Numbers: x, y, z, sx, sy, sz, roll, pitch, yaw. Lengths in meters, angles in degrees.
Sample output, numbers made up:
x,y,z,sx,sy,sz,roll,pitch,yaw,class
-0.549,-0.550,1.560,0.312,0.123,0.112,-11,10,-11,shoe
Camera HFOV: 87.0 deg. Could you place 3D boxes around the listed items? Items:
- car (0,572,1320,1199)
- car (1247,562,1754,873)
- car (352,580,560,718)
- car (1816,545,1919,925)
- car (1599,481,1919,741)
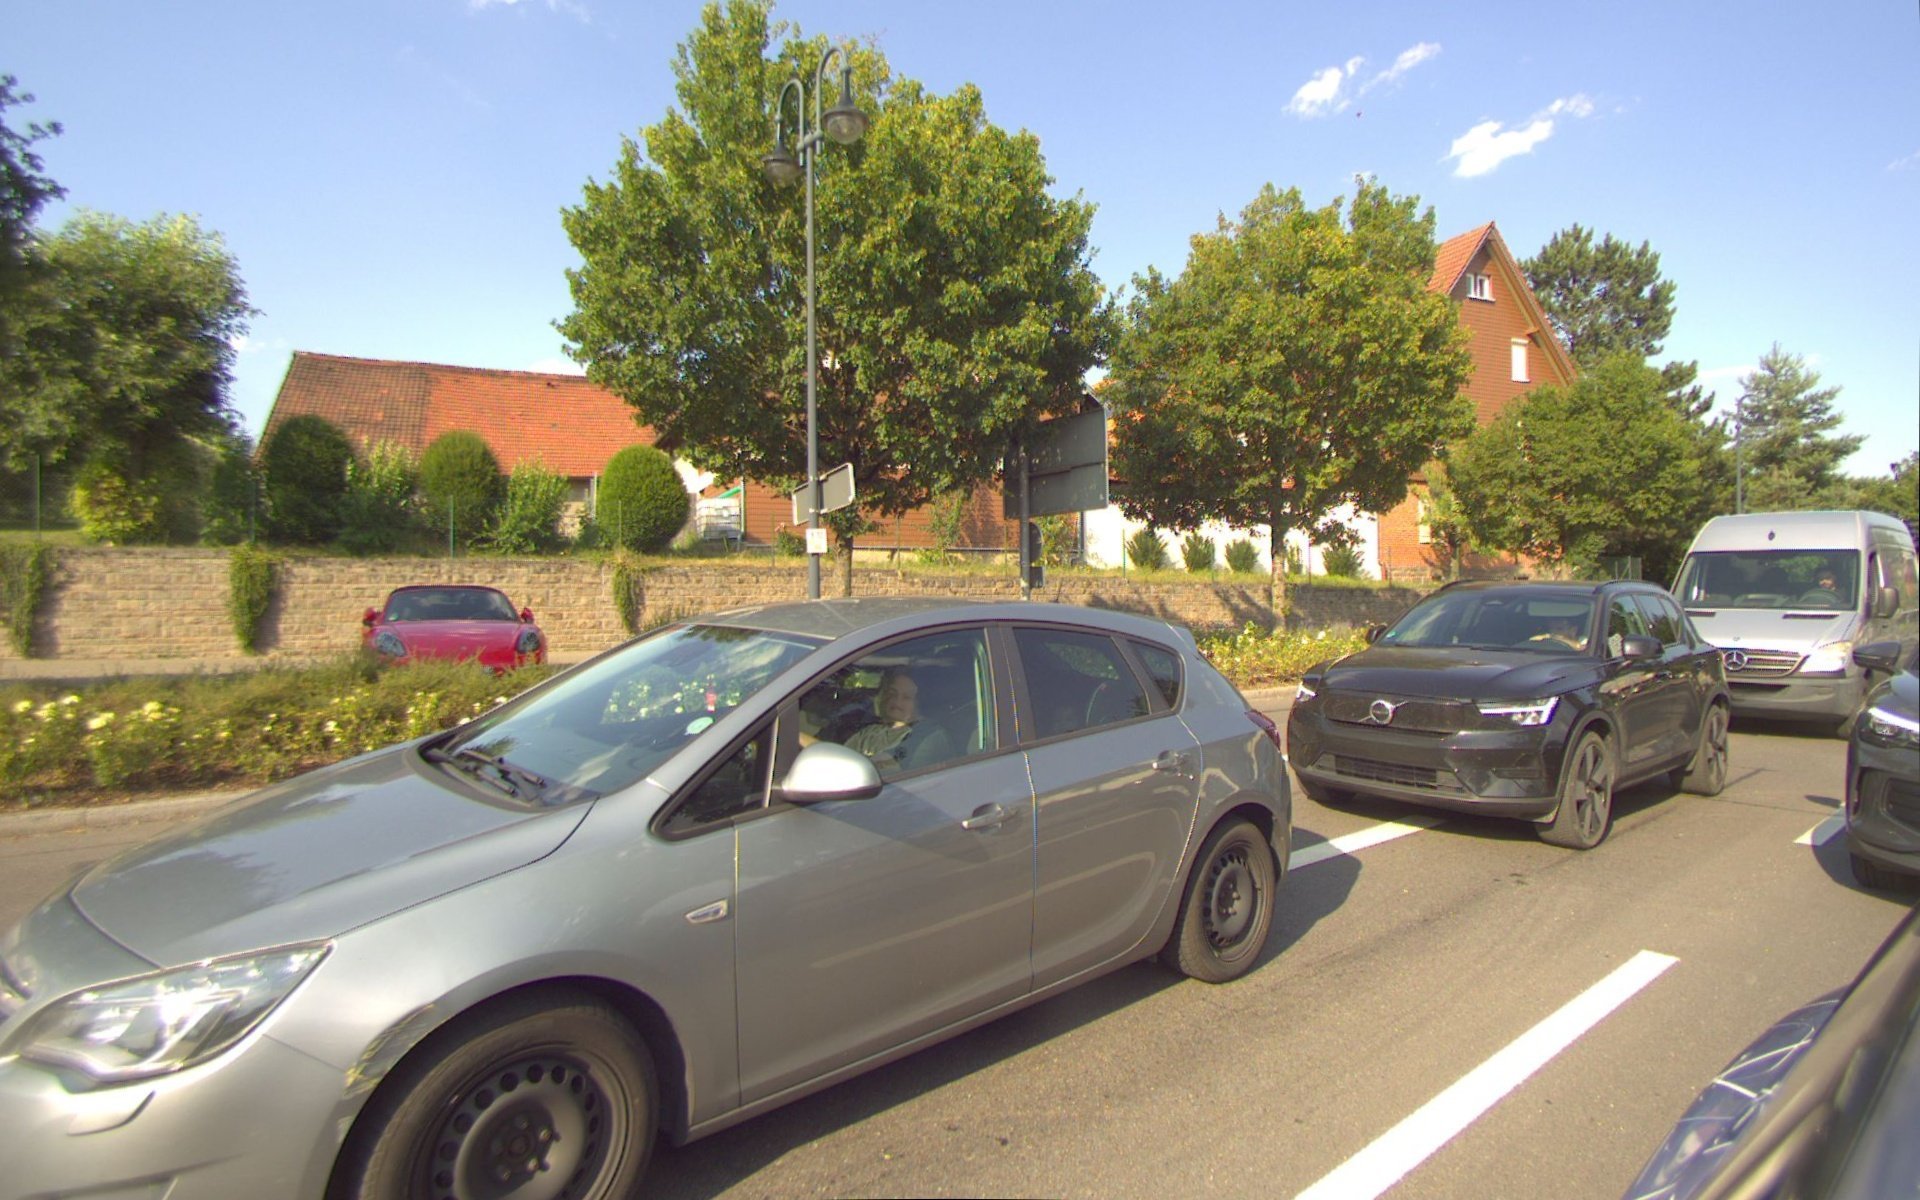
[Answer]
x,y,z,sx,sy,sz,roll,pitch,yaw,class
-0.613,0.674,3.478,4.095,1.460,1.746,0,0,-41,car
4.064,0.603,7.340,4.054,1.629,1.885,0,0,-40,car
-5.808,0.448,11.668,1.816,1.288,4.005,0,0,-28,car
6.377,0.589,5.506,4.646,1.677,1.893,0,0,-40,car
10.571,0.087,12.924,6.082,2.579,2.369,0,0,-40,car
